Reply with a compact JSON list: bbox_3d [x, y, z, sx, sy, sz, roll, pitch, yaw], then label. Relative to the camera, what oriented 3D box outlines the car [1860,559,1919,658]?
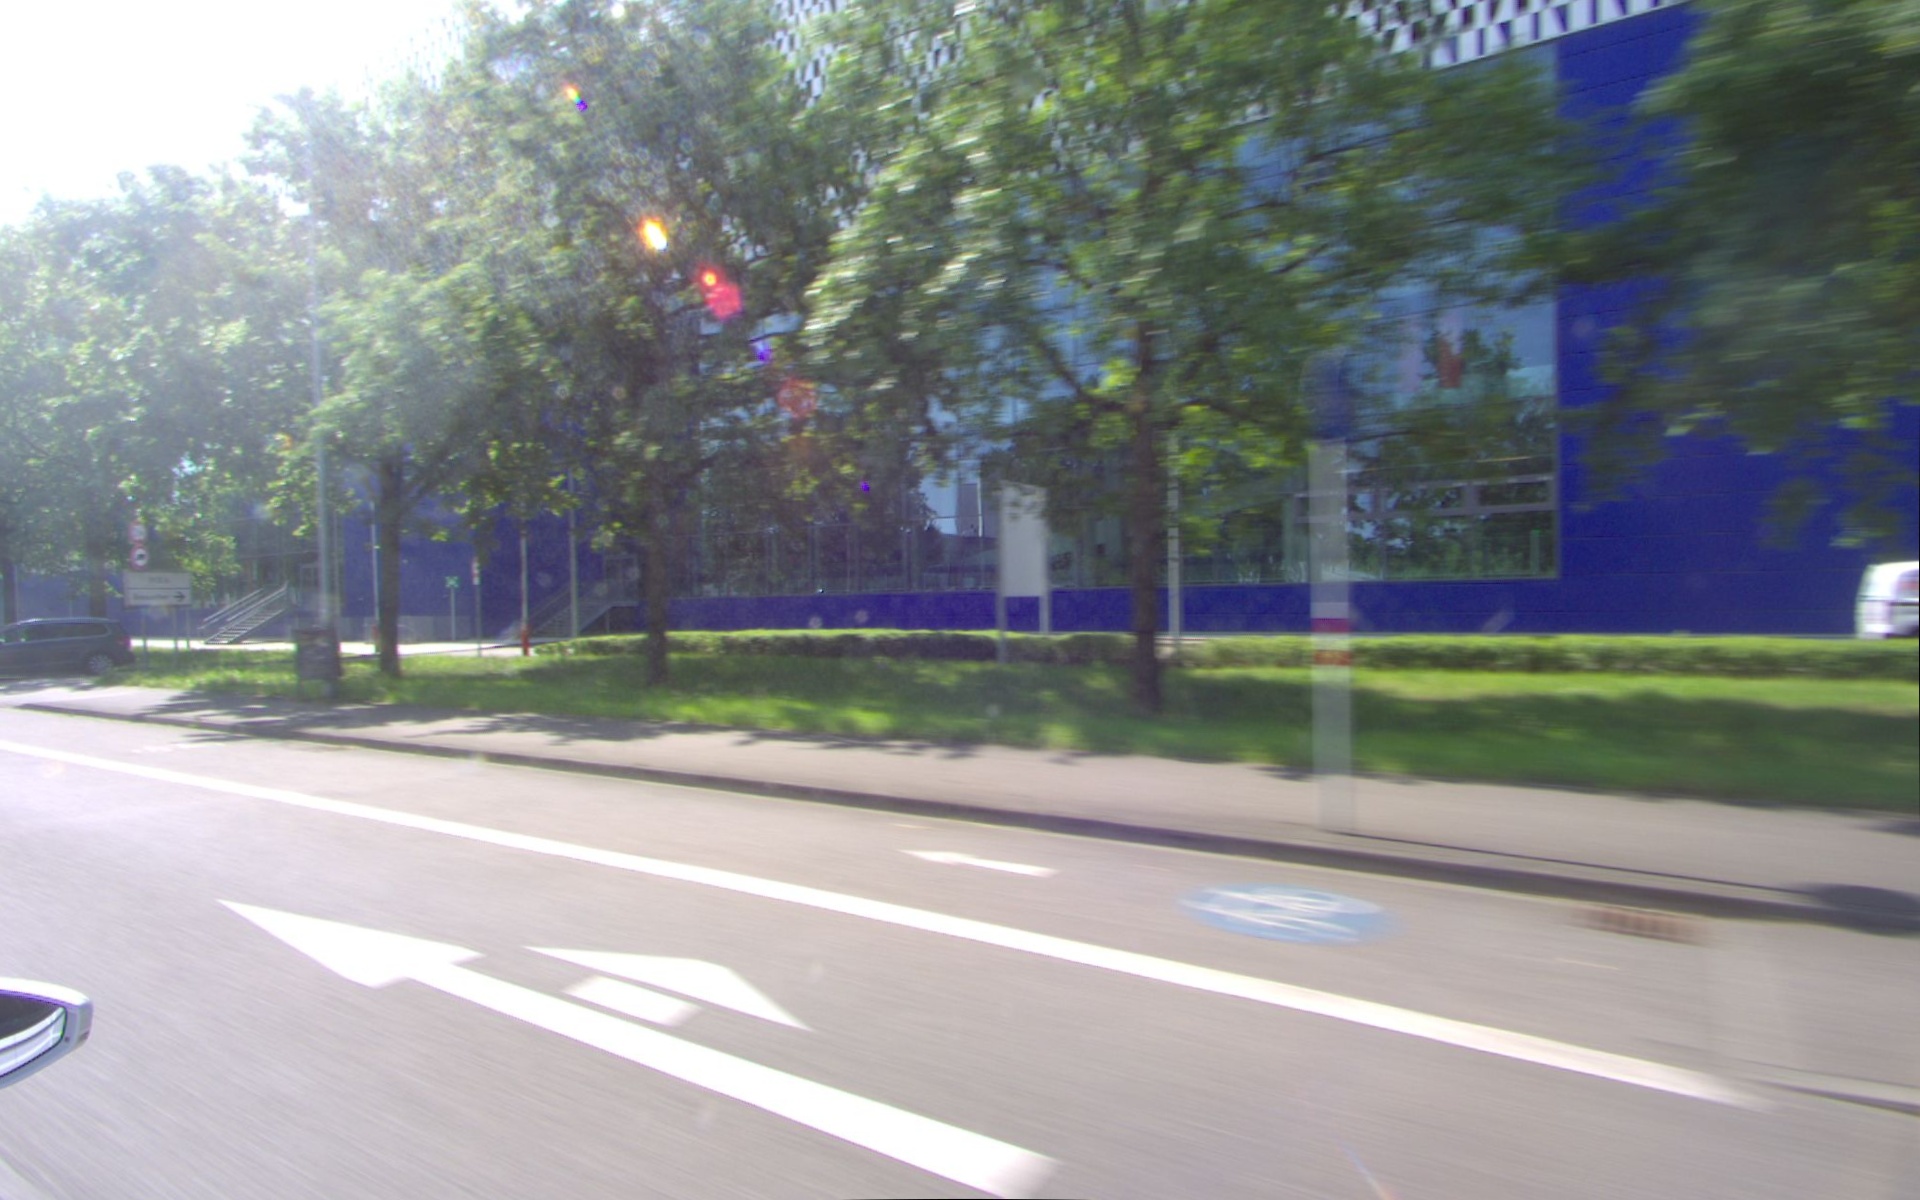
[{"bbox_3d":[17.747,0.142,16.453,4.250,1.660,1.844,-1,-1,38],"label":"car"}]

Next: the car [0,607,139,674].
[{"bbox_3d":[-25.966,1.122,27.958,1.822,1.716,4.423,-1,1,39],"label":"car"}]
